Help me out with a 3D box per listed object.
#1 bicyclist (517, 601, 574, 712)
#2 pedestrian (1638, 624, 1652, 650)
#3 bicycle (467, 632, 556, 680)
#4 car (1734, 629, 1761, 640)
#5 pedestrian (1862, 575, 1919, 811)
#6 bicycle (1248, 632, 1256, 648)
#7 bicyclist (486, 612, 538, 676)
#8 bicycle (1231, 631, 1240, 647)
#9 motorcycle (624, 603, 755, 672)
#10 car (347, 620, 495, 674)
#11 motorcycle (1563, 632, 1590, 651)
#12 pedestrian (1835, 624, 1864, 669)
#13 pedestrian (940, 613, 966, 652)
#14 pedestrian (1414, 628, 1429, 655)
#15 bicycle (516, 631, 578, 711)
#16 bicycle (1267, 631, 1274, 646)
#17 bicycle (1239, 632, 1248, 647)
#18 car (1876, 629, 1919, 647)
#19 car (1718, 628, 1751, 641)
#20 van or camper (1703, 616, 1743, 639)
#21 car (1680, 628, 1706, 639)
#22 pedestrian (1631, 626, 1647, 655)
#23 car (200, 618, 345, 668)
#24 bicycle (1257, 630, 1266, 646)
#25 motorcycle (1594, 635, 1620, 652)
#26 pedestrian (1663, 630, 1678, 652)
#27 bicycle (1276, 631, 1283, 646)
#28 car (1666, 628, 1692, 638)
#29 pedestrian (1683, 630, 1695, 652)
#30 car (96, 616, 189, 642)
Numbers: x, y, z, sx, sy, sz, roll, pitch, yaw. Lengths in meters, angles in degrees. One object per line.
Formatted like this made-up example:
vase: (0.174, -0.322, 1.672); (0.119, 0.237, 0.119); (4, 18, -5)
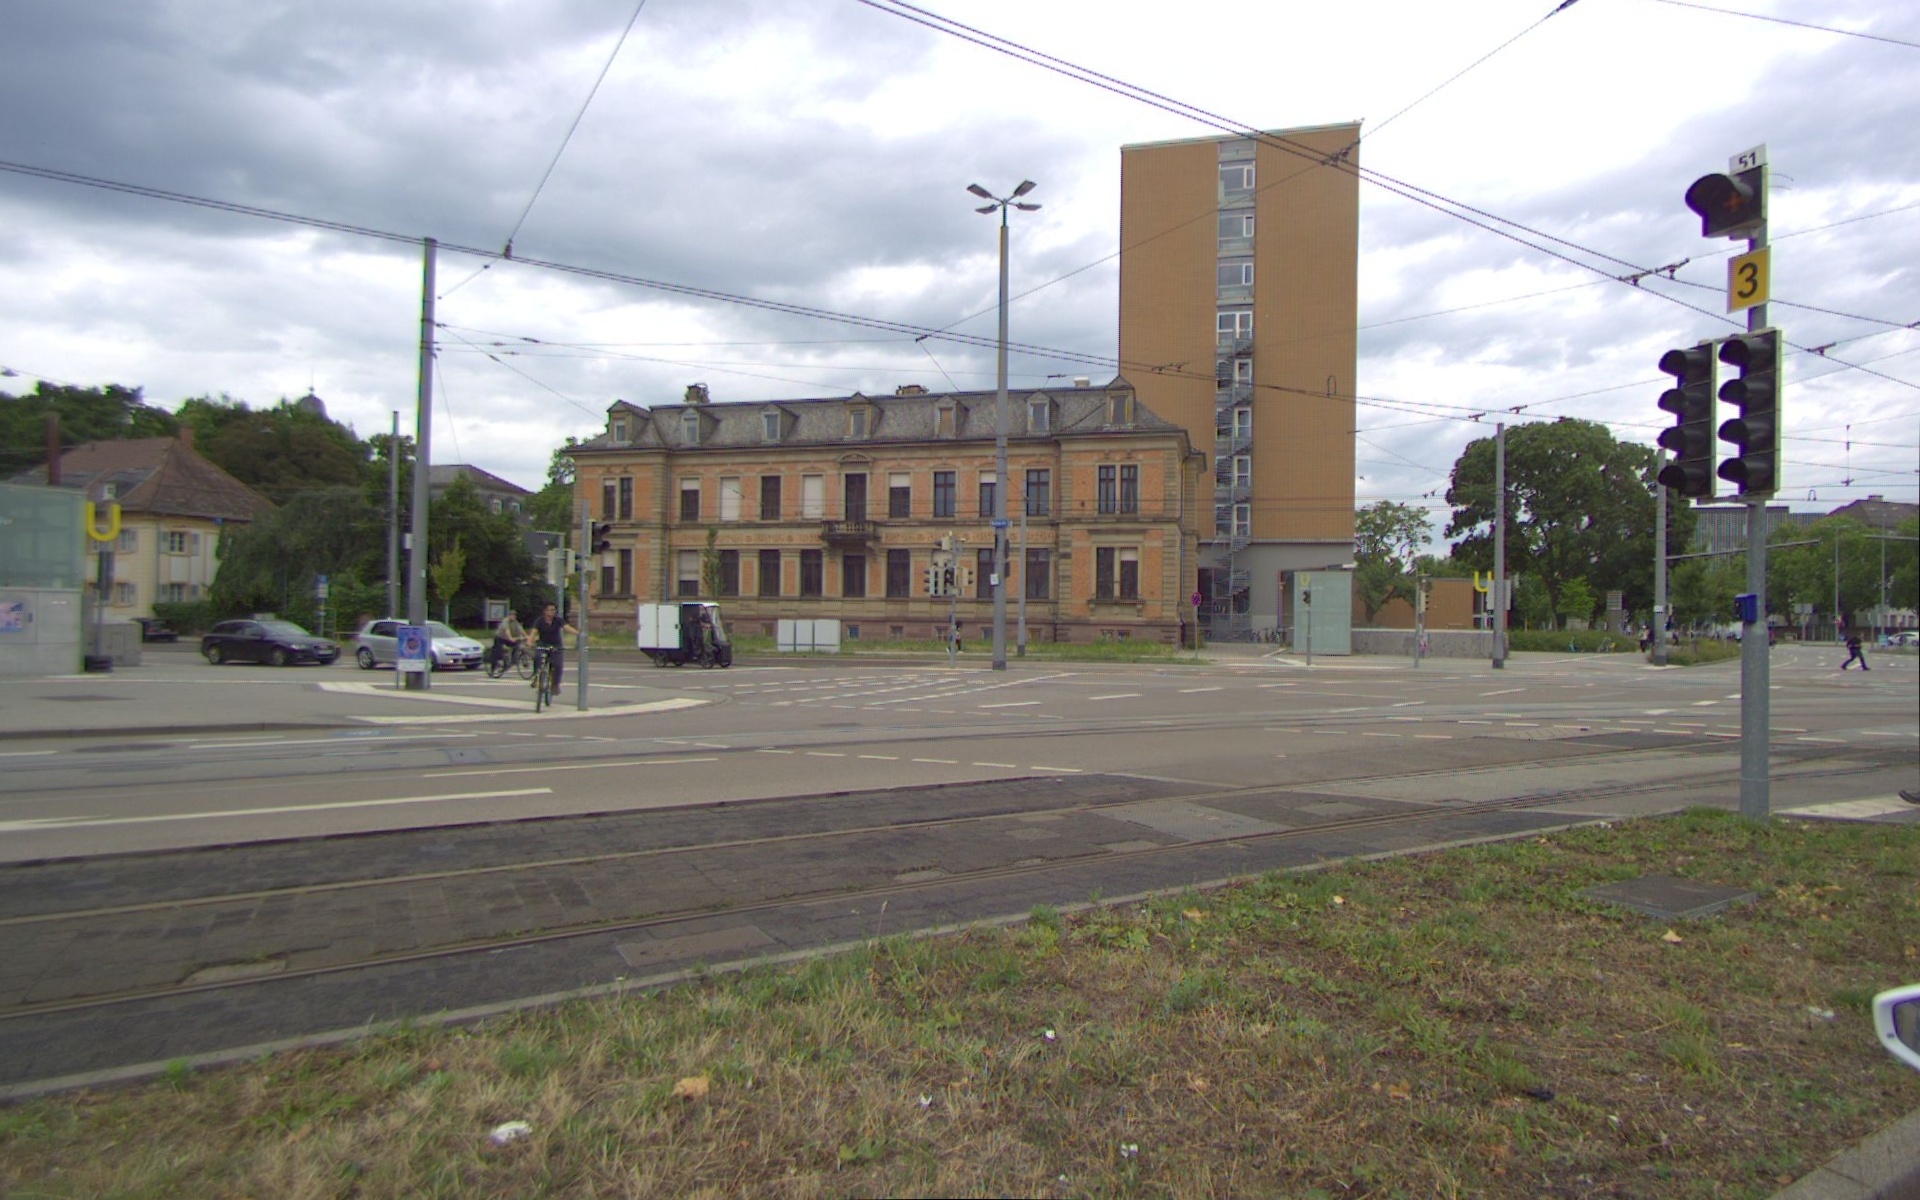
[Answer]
bicyclist: (-7.087, 0.936, 17.158); (0.805, 1.822, 1.022); (0, 0, -28)
pedestrian: (53.221, 2.871, 78.048); (0.781, 2.007, 0.880); (1, -2, 26)
bicycle: (-11.868, 1.463, 26.598); (2.154, 1.224, 0.857); (0, -2, 20)
car: (112.484, 4.936, 143.493); (1.746, 1.483, 4.001); (1, 0, 18)
pedestrian: (8.440, 0.777, 8.409); (1.082, 1.932, 0.736); (1, 0, 18)
bicycle: (21.553, 2.923, 74.132); (0.561, 1.120, 1.428); (1, -1, 18)
bicyclist: (-11.858, 1.163, 26.606); (0.899, 1.644, 0.855); (0, -1, 20)
bicycle: (20.427, 2.903, 74.476); (0.561, 1.120, 1.428); (1, -1, 18)
motorcycle: (-8.488, 1.131, 31.554); (3.614, 2.040, 1.696); (1, -1, 19)
car: (-16.246, 1.378, 30.259); (4.081, 1.473, 1.761); (0, -1, 23)
motorcycle: (41.580, 2.803, 67.712); (1.443, 1.285, 0.512); (1, -1, 14)
pedestrian: (41.973, 2.180, 47.409); (1.009, 2.040, 0.842); (0, -1, 41)
pedestrian: (-0.327, 1.520, 47.033); (1.104, 1.786, 0.759); (1, -1, 8)
pedestrian: (23.185, 2.075, 50.427); (0.562, 1.353, 0.499); (1, -1, 10)
bicycle: (-7.056, 1.167, 17.089); (0.805, 1.259, 1.986); (0, -2, -27)
bicycle: (22.821, 2.809, 73.767); (0.500, 1.063, 1.428); (1, -1, 18)
bicycle: (20.991, 2.906, 74.302); (0.561, 1.120, 1.428); (1, -1, 18)
car: (101.481, 4.079, 108.088); (1.692, 1.795, 3.977); (1, -1, -23)
car: (95.117, 4.256, 123.388); (1.746, 1.483, 4.002); (1, -1, 14)
van or camper: (108.256, 3.832, 142.512); (2.347, 3.165, 5.507); (1, -1, 12)
car: (109.926, 5.058, 150.617); (1.746, 1.483, 4.002); (1, 0, 15)
pedestrian: (47.867, 2.851, 70.780); (0.781, 2.007, 0.880); (1, -2, 26)
car: (-22.045, 1.349, 32.229); (4.061, 1.468, 1.697); (1, -1, 18)
bicycle: (22.197, 2.800, 73.965); (0.561, 1.120, 1.428); (1, -1, 18)
motorcycle: (43.684, 2.945, 67.839); (1.716, 1.126, 0.510); (1, -1, -17)
pedestrian: (67.420, 3.872, 95.267); (0.784, 2.007, 0.877); (2, -2, -20)
bicycle: (23.395, 2.794, 73.643); (0.472, 1.063, 1.428); (1, -1, 18)
car: (113.894, 5.271, 159.136); (1.745, 1.483, 4.002); (1, 0, 11)
pedestrian: (67.634, 3.809, 93.175); (0.868, 2.007, 0.792); (0, -2, 42)
car: (-45.035, 1.589, 55.355); (3.919, 1.305, 1.936); (1, -1, 12)
